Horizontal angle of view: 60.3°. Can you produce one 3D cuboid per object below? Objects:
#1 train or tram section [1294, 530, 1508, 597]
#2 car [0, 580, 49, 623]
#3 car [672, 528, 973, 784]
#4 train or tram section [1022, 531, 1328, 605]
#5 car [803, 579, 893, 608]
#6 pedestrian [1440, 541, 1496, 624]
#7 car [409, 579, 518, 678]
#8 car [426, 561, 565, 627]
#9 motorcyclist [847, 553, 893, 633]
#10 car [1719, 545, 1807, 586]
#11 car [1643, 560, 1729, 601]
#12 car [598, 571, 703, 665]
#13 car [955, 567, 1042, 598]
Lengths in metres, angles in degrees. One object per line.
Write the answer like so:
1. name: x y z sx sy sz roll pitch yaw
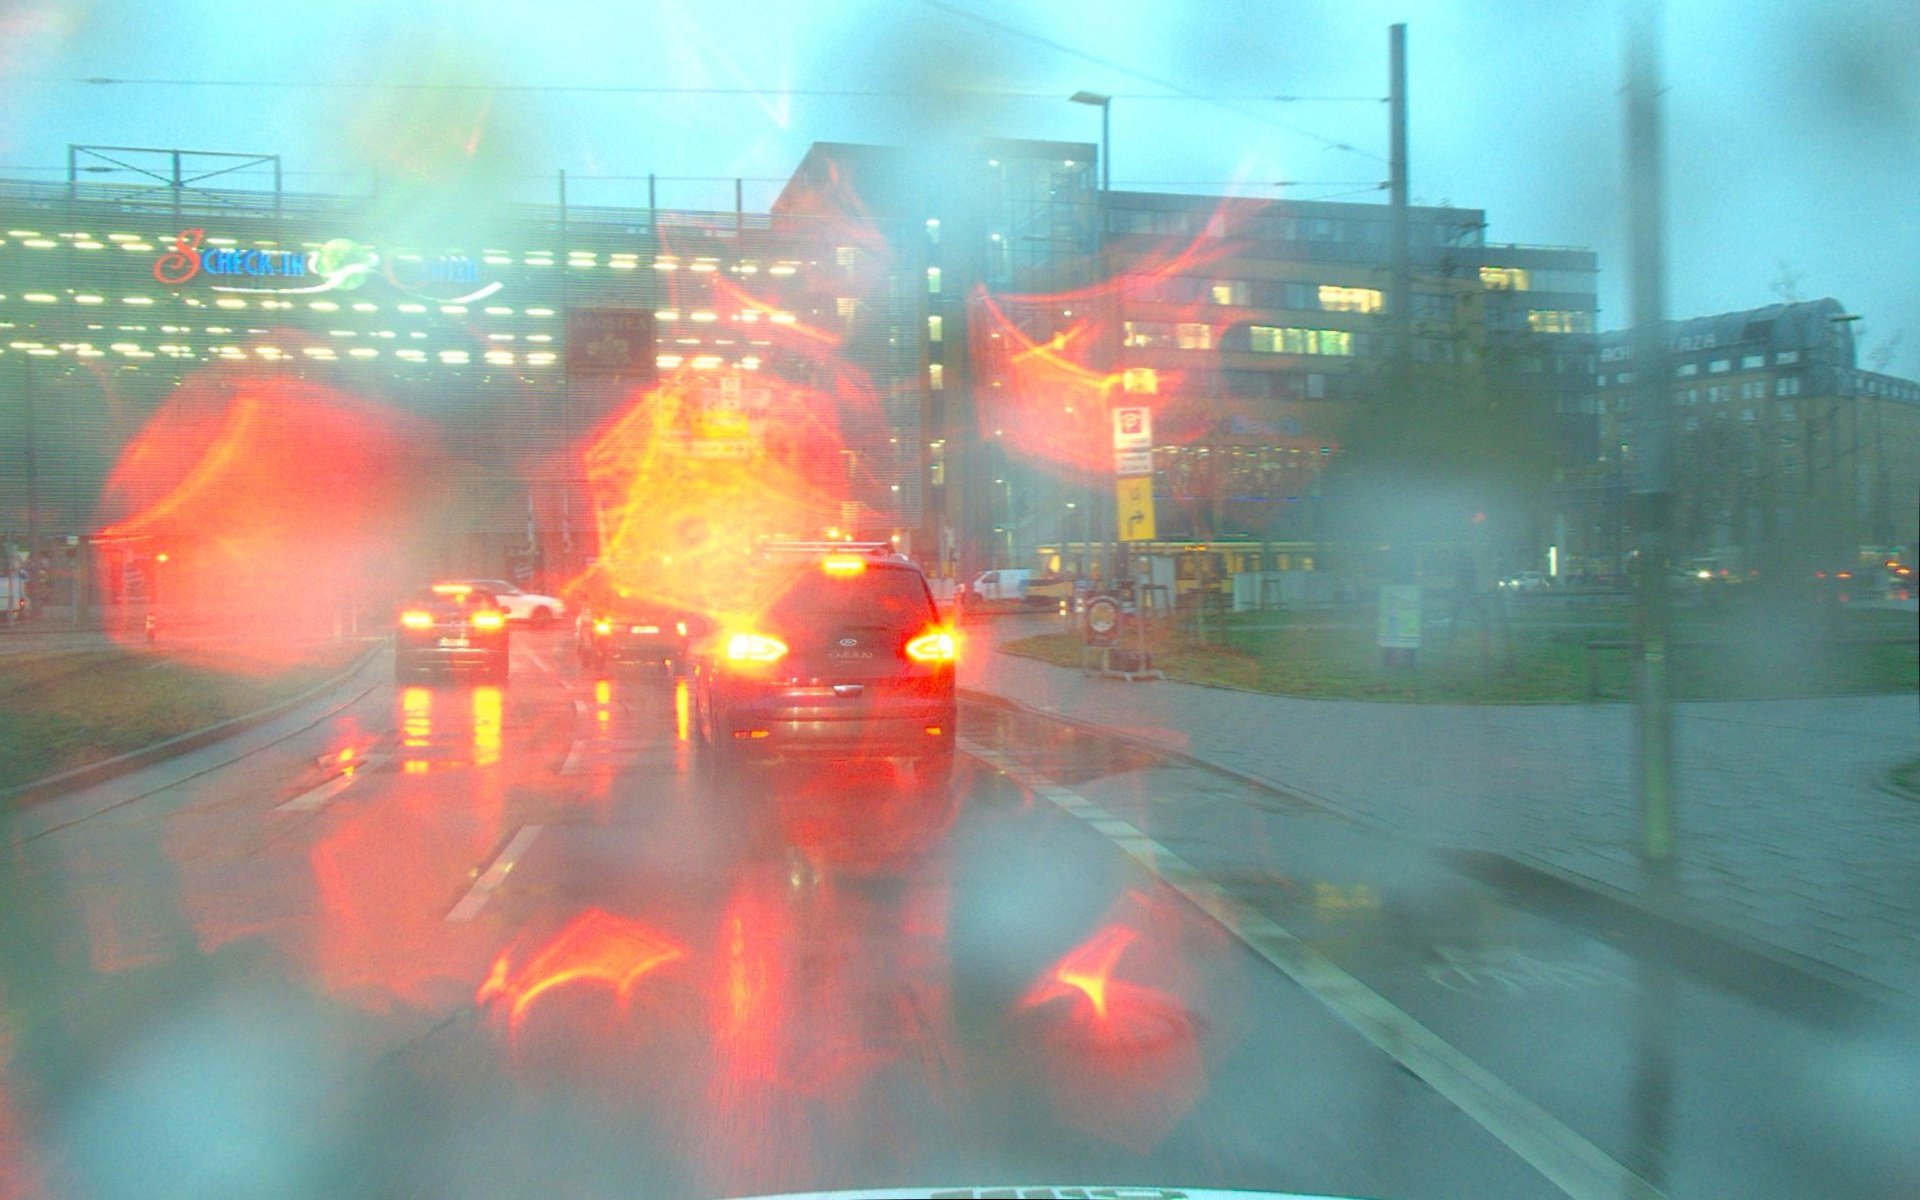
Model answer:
1. train or tram section: 23.230 -1.956 86.618 12.813 3.317 2.315 -1 1 -29
2. car: -46.759 0.020 79.362 5.001 1.996 1.881 1 0 -19
3. car: -1.301 0.388 13.689 1.706 1.768 4.229 1 0 -15
4. train or tram section: 10.630 -1.596 79.668 16.420 3.317 2.315 -1 1 -29
5. car: -5.856 -0.337 86.520 4.355 1.414 1.789 -1 1 -21
6. pedestrian: 12.315 -0.424 40.091 1.145 1.957 0.899 1 0 10
7. car: -8.816 0.463 29.382 1.725 1.601 3.981 -1 0 -17
8. car: -15.448 -0.206 55.001 4.291 2.049 1.988 1 0 -20
9. motorcyclist: -1.807 -0.139 33.039 0.851 1.561 1.107 -1 0 -5
10. car: 44.024 -1.884 90.634 4.882 2.049 1.979 1 0 -31
11. car: 37.848 -0.996 86.269 3.933 2.049 1.986 1 0 -24
12. car: -6.104 0.331 32.368 1.610 1.726 3.652 0 0 -17
13. car: 2.077 -0.938 88.933 4.352 1.623 1.790 1 0 -19
